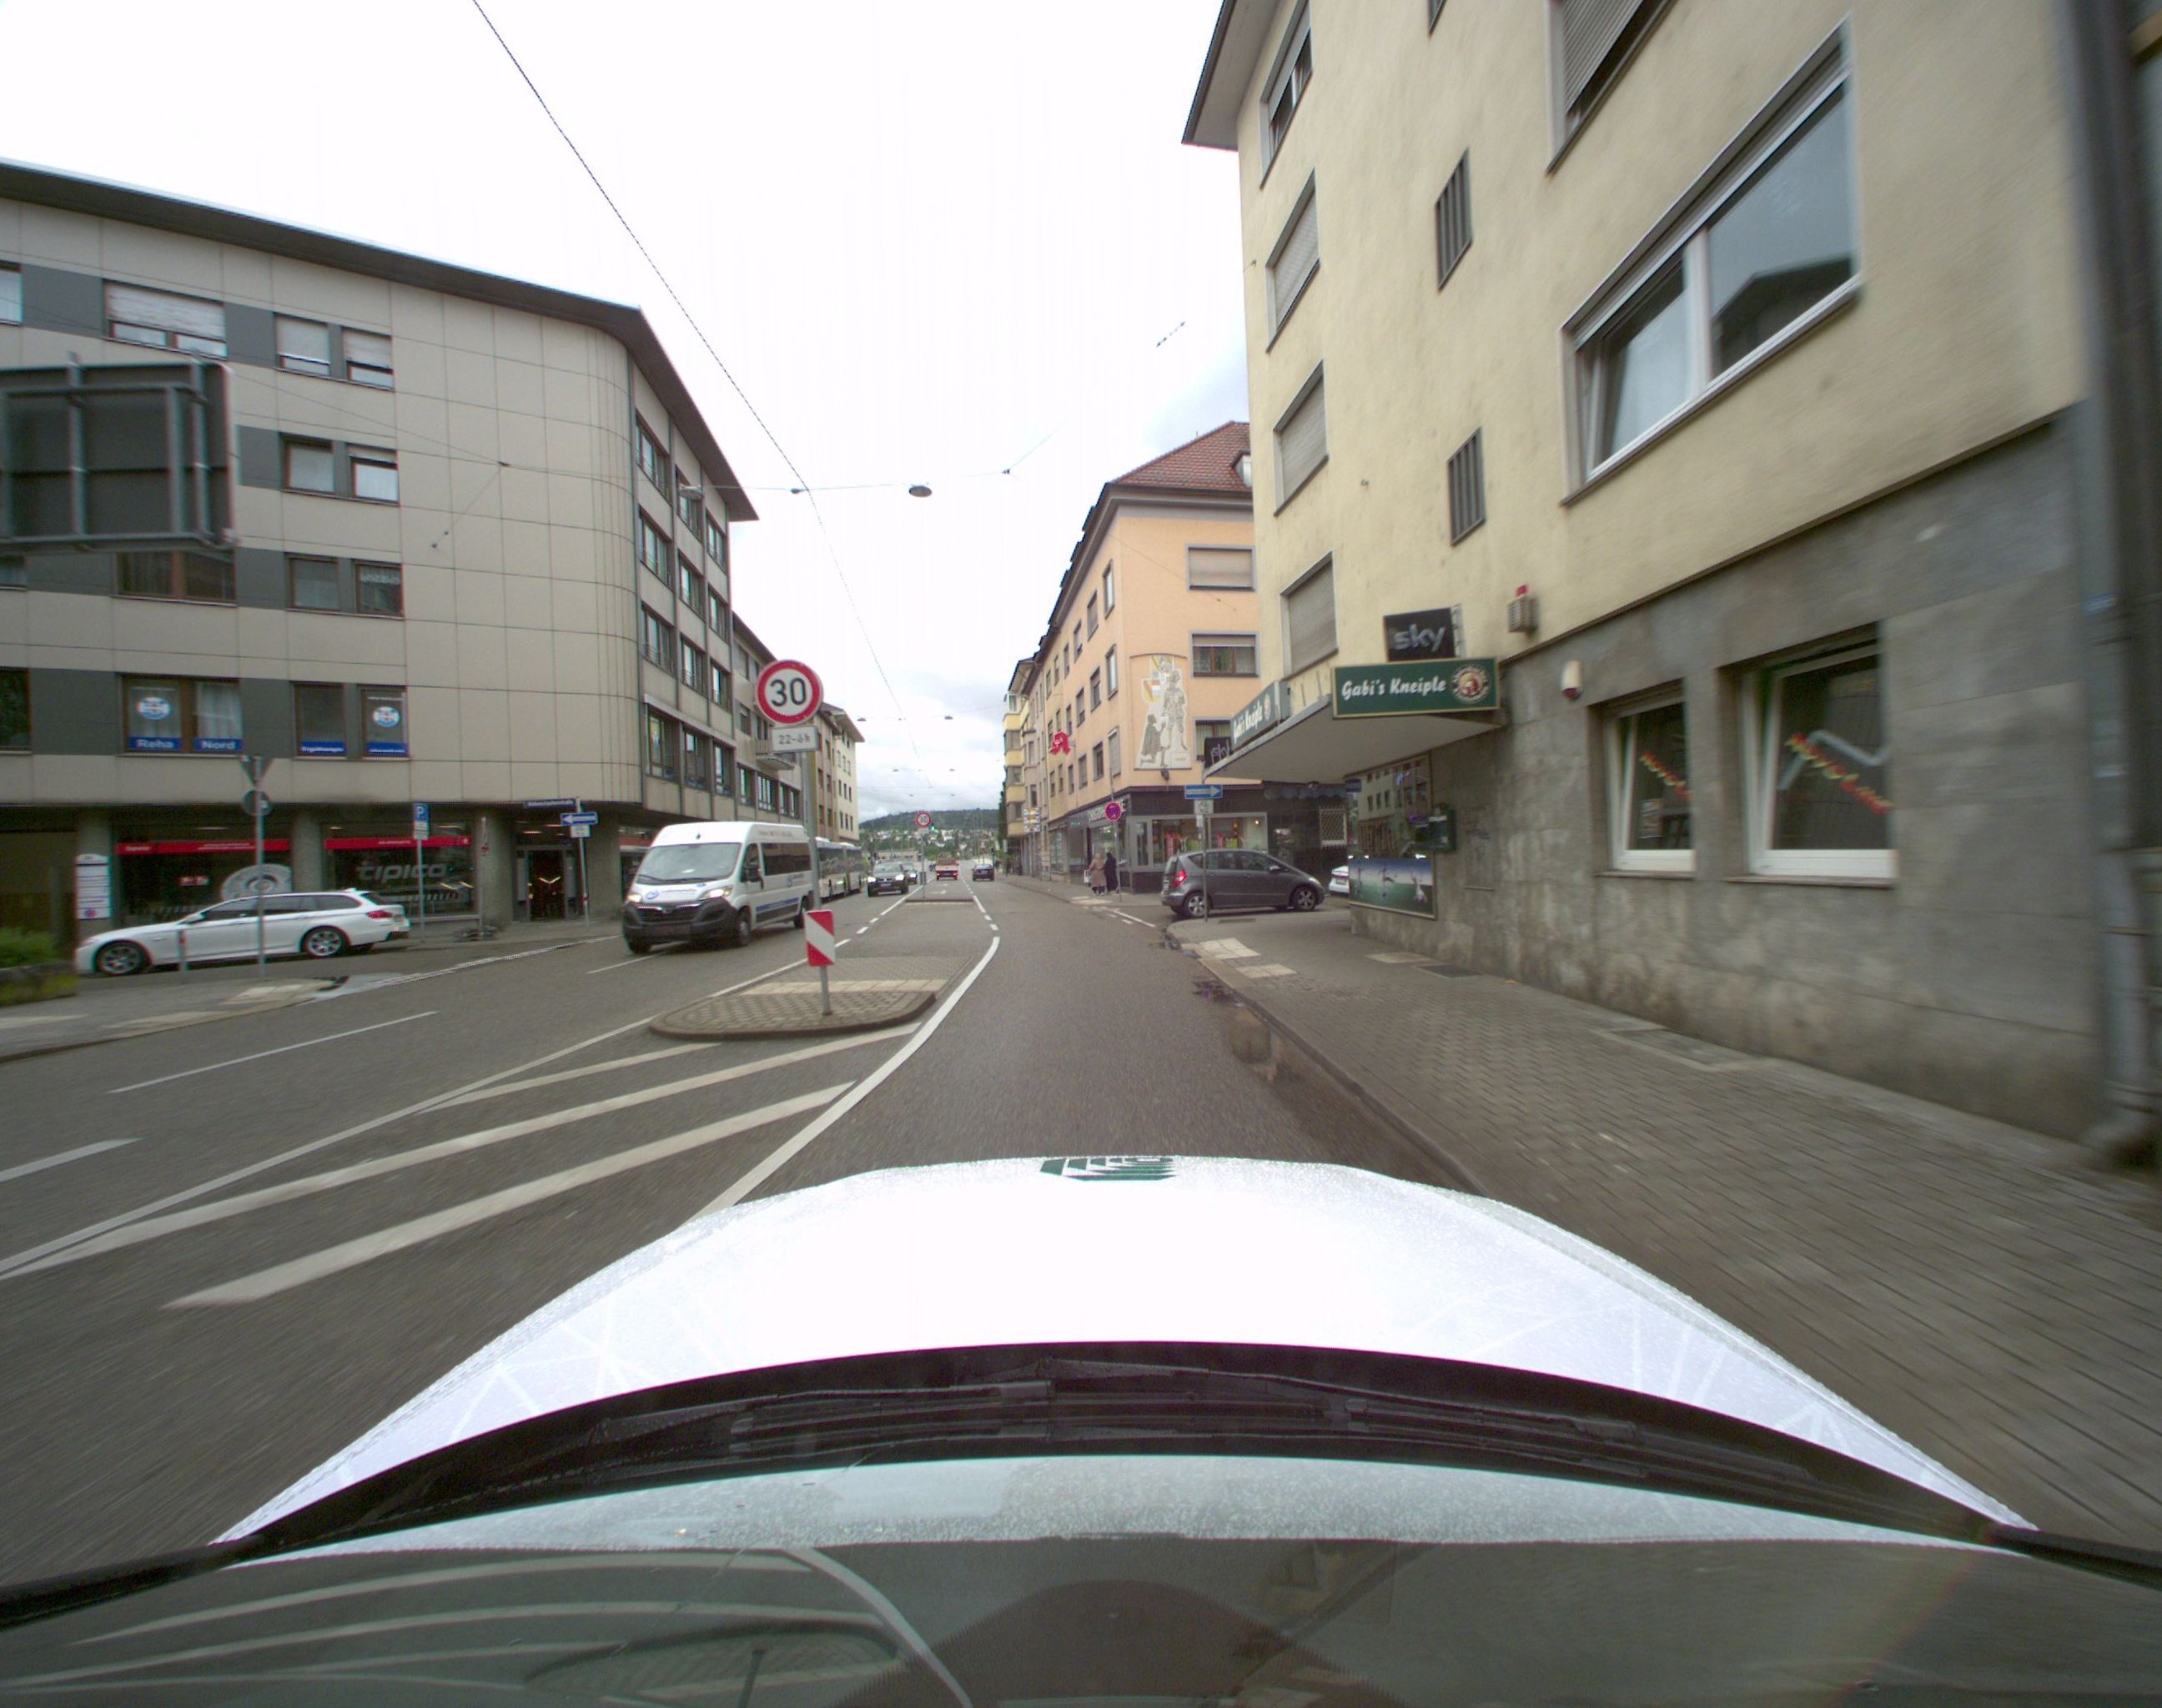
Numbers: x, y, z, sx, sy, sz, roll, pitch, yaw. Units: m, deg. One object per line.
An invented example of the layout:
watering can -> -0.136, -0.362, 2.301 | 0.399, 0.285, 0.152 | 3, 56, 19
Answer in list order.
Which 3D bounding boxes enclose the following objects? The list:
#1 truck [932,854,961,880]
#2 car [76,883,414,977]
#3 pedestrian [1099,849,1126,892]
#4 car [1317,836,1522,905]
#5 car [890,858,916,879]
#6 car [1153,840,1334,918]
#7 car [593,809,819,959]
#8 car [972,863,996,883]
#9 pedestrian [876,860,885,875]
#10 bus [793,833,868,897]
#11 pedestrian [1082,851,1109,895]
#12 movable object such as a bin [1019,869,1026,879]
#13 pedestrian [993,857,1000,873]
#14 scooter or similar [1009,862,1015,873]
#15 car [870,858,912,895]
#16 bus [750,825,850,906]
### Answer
truck -> -12.192, 1.165, 73.870 | 2.400, 2.129, 5.297 | -3, -1, -9
car -> -17.534, 1.511, 17.480 | 4.657, 1.533, 1.888 | -2, -1, -29
pedestrian -> 1.167, 0.621, 30.481 | 0.768, 1.560, 0.873 | -3, -1, -11
car -> 8.492, 0.411, 20.635 | 4.473, 1.442, 1.783 | -3, -1, -7
car -> -13.552, 1.131, 62.023 | 1.709, 1.451, 4.071 | -3, -1, -10
car -> 3.816, 0.569, 19.527 | 3.821, 1.574, 1.932 | -3, -1, -7
car -> -7.349, 0.552, 16.948 | 2.082, 2.435, 6.342 | -3, -1, -4
car -> -8.023, 1.580, 67.133 | 1.754, 1.479, 3.987 | -3, -1, -9
pedestrian -> -28.245, 1.937, 114.625 | 0.981, 2.014, 1.171 | -3, -1, -7
bus -> -14.170, 0.649, 46.788 | 2.725, 3.188, 9.262 | -3, -1, -9
pedestrian -> 0.536, 0.696, 30.207 | 0.779, 1.560, 0.780 | -3, -1, -11
movable object such as a bin -> -5.433, 1.865, 75.833 | 0.600, 0.926, 0.702 | -3, -1, -9
pedestrian -> -9.962, 1.338, 96.203 | 0.733, 1.841, 0.628 | -3, -1, -11
scooter or similar -> -7.484, 1.502, 88.445 | 0.511, 1.172, 1.544 | -3, -1, -9
car -> -9.529, 1.067, 41.000 | 1.743, 1.662, 4.402 | -3, 0, -10
bus -> -12.759, 0.532, 37.820 | 2.758, 3.188, 8.882 | -3, -1, -9
